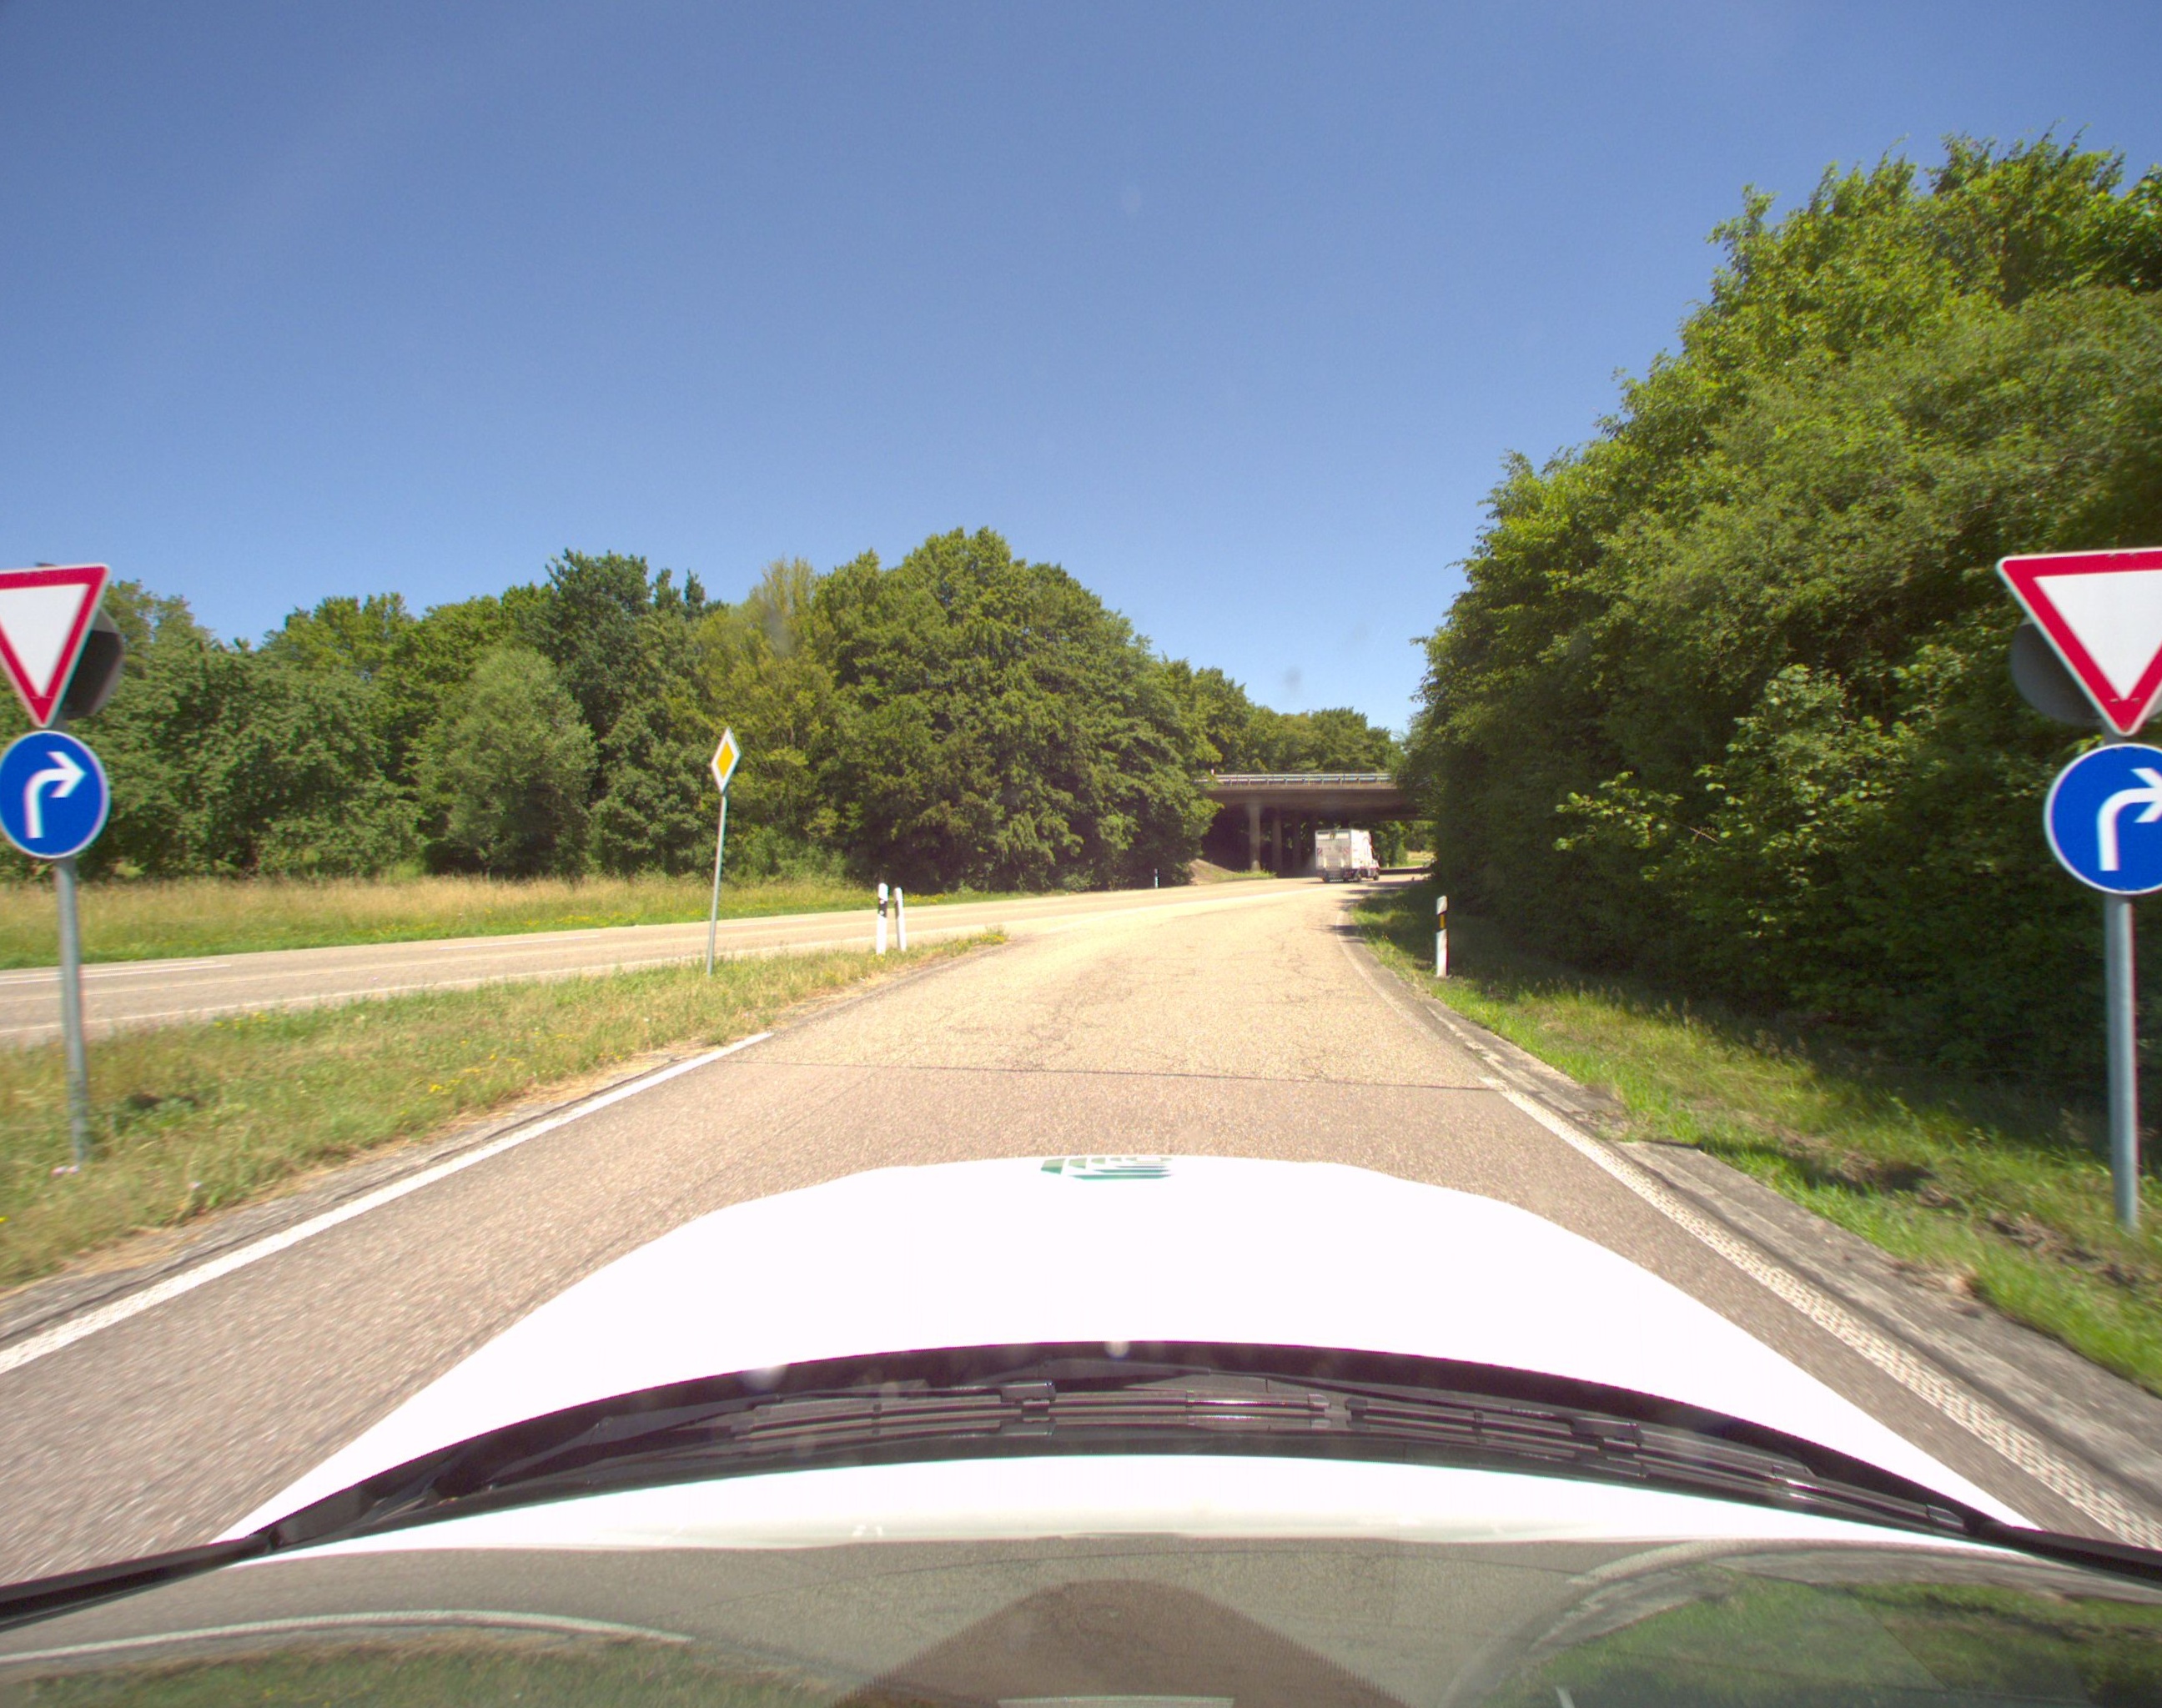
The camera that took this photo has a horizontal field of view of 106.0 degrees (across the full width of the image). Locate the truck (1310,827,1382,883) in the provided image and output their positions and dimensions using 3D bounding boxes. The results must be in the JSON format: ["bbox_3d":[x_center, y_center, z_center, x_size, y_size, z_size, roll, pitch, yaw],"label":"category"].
[{"bbox_3d":[15.233,0.051,46.575,2.219,2.985,5.932,-2,-1,35],"label":"truck"}]
